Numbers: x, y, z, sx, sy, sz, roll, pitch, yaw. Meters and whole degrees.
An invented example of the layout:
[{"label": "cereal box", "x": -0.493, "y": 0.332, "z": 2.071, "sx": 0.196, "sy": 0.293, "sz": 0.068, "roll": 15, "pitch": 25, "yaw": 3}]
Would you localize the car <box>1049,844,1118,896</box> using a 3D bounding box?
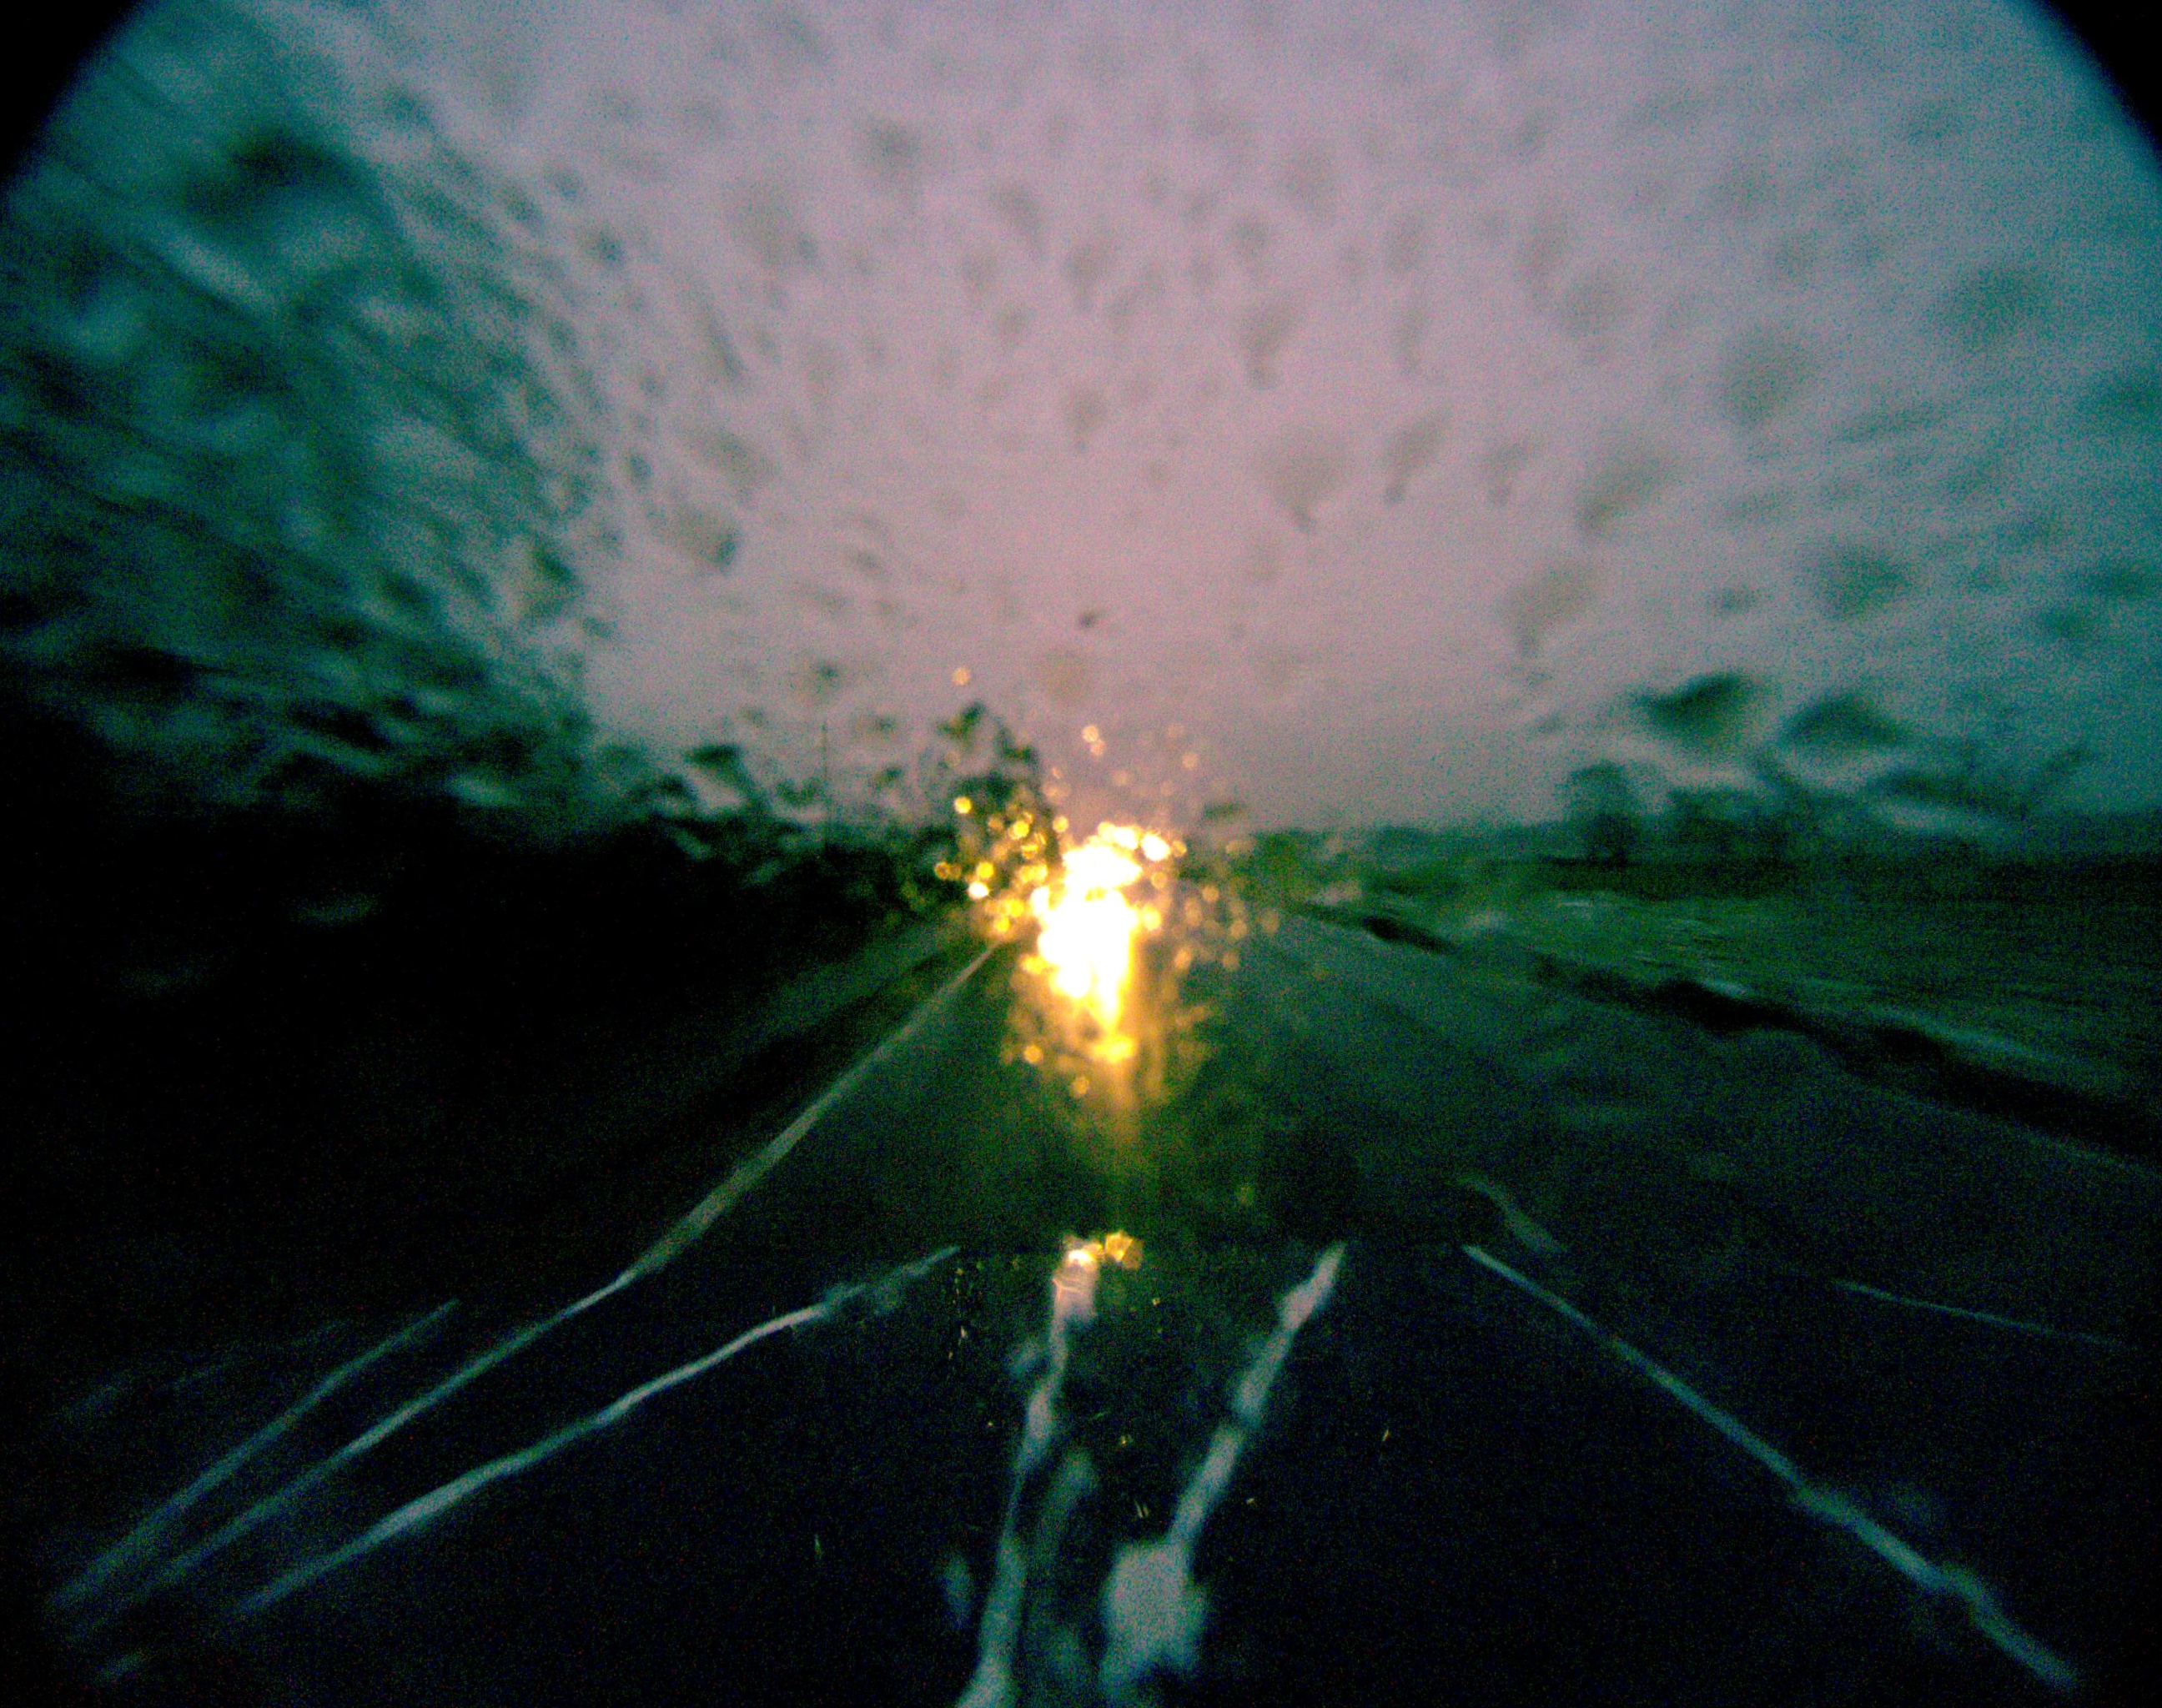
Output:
[{"label": "car", "x": 0.176, "y": 0.623, "z": 33.542, "sx": 2.704, "sy": 1.974, "sz": 5.804, "roll": -2, "pitch": 1, "yaw": 2}]
